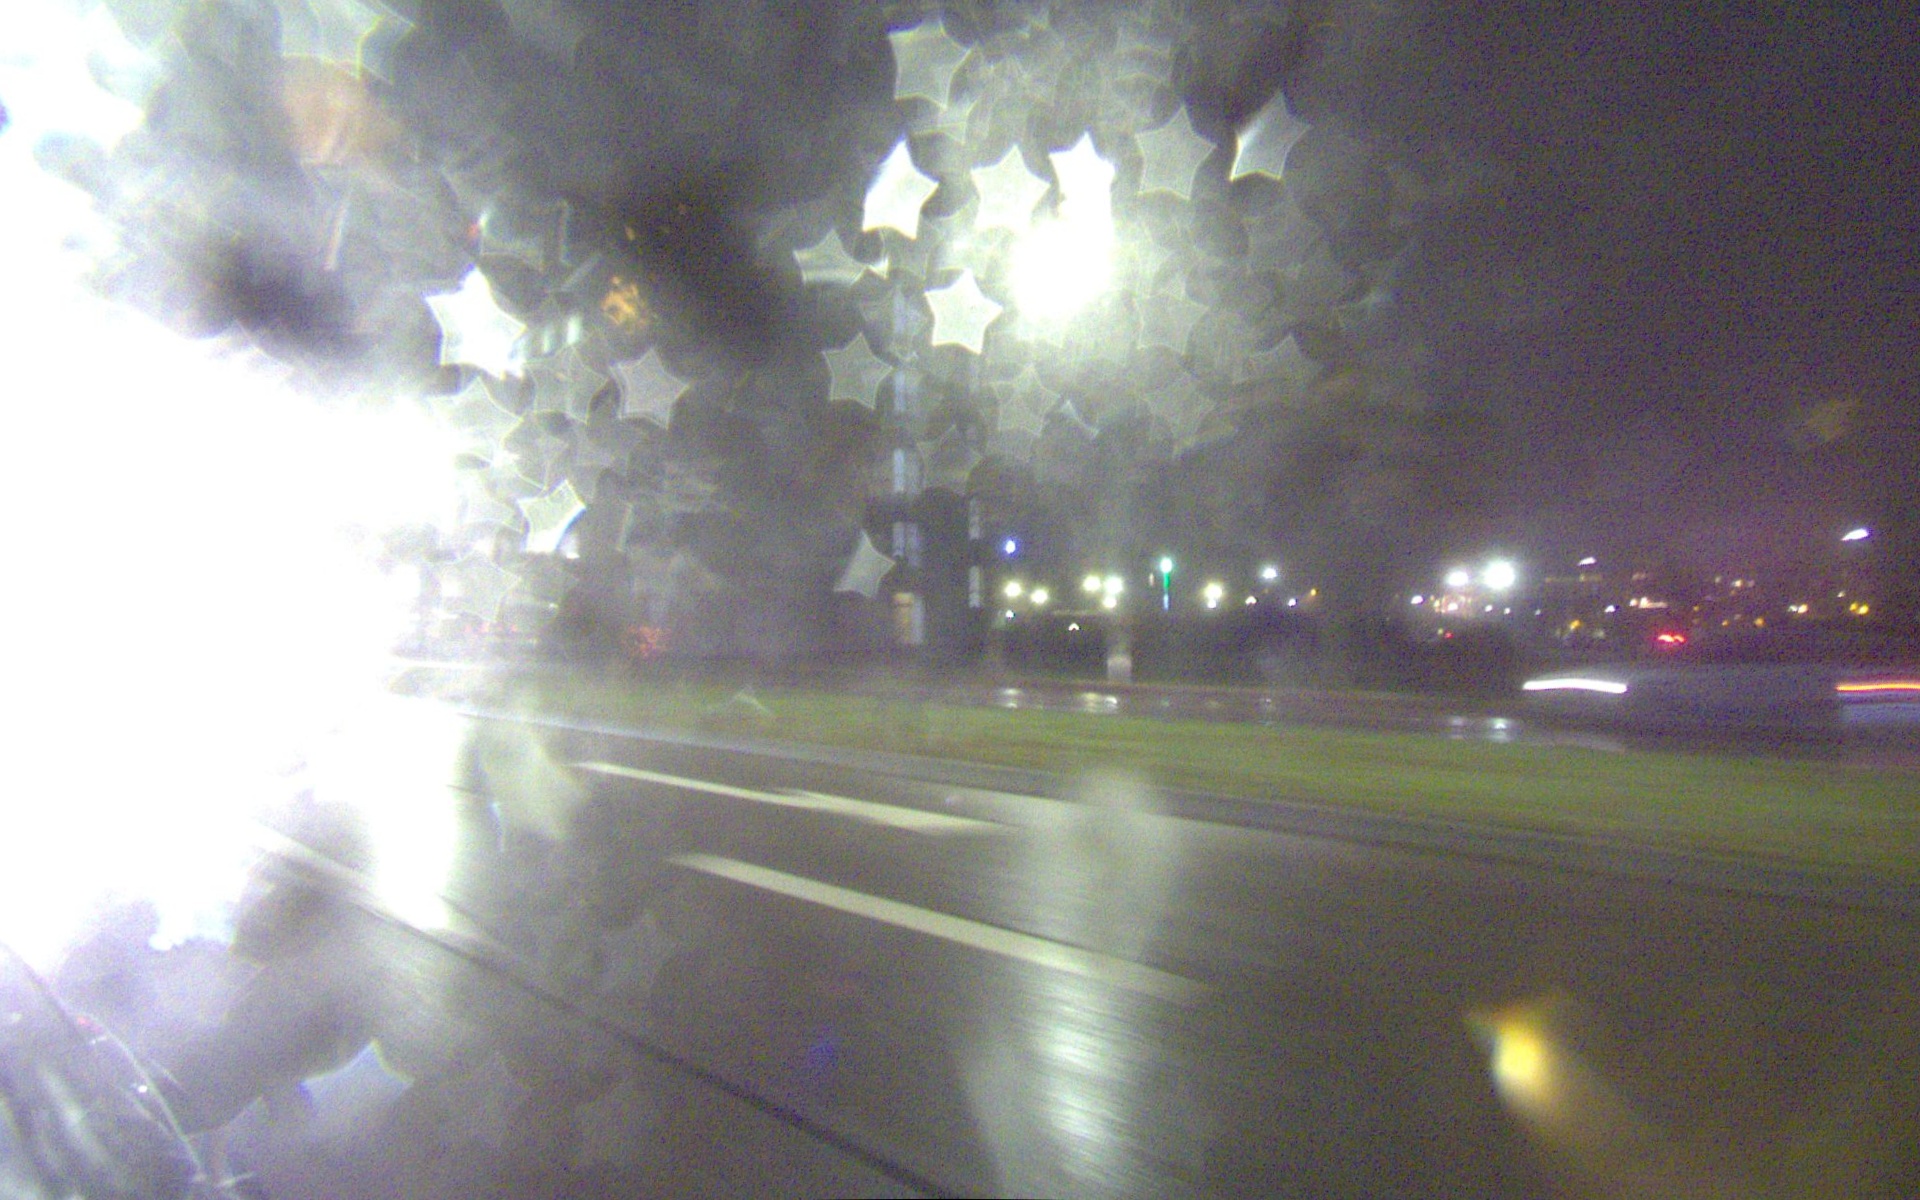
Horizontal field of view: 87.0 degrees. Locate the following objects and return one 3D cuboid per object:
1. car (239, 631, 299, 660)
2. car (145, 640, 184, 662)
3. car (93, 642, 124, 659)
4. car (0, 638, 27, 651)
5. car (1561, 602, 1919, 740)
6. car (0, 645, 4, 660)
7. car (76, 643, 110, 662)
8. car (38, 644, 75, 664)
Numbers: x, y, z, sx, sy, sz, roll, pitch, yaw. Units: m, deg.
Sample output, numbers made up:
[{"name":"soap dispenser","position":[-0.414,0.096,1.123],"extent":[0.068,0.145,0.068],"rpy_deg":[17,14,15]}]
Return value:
[{"name":"car","position":[-43.029,2.796,62.964],"extent":[4.545,1.697,2.003],"rpy_deg":[-2,-1,41]},{"name":"car","position":[-64.311,4.098,81.760],"extent":[4.365,1.604,1.823],"rpy_deg":[-2,-1,43]},{"name":"car","position":[-83.418,4.926,99.135],"extent":[4.365,1.604,1.823],"rpy_deg":[-2,-1,43]},{"name":"car","position":[-110.977,5.205,118.583],"extent":[5.554,1.369,1.824],"rpy_deg":[-2,-1,40]},{"name":"car","position":[11.382,0.944,14.556],"extent":[4.438,1.726,1.810],"rpy_deg":[-2,-1,41]},{"name":"car","position":[-106.534,5.769,110.858],"extent":[5.319,1.604,1.826],"rpy_deg":[-2,-1,38]},{"name":"car","position":[-76.441,4.611,89.232],"extent":[4.365,1.604,1.823],"rpy_deg":[-2,-1,43]},{"name":"car","position":[-72.035,4.256,80.673],"extent":[4.365,1.498,1.823],"rpy_deg":[-2,-1,43]}]
